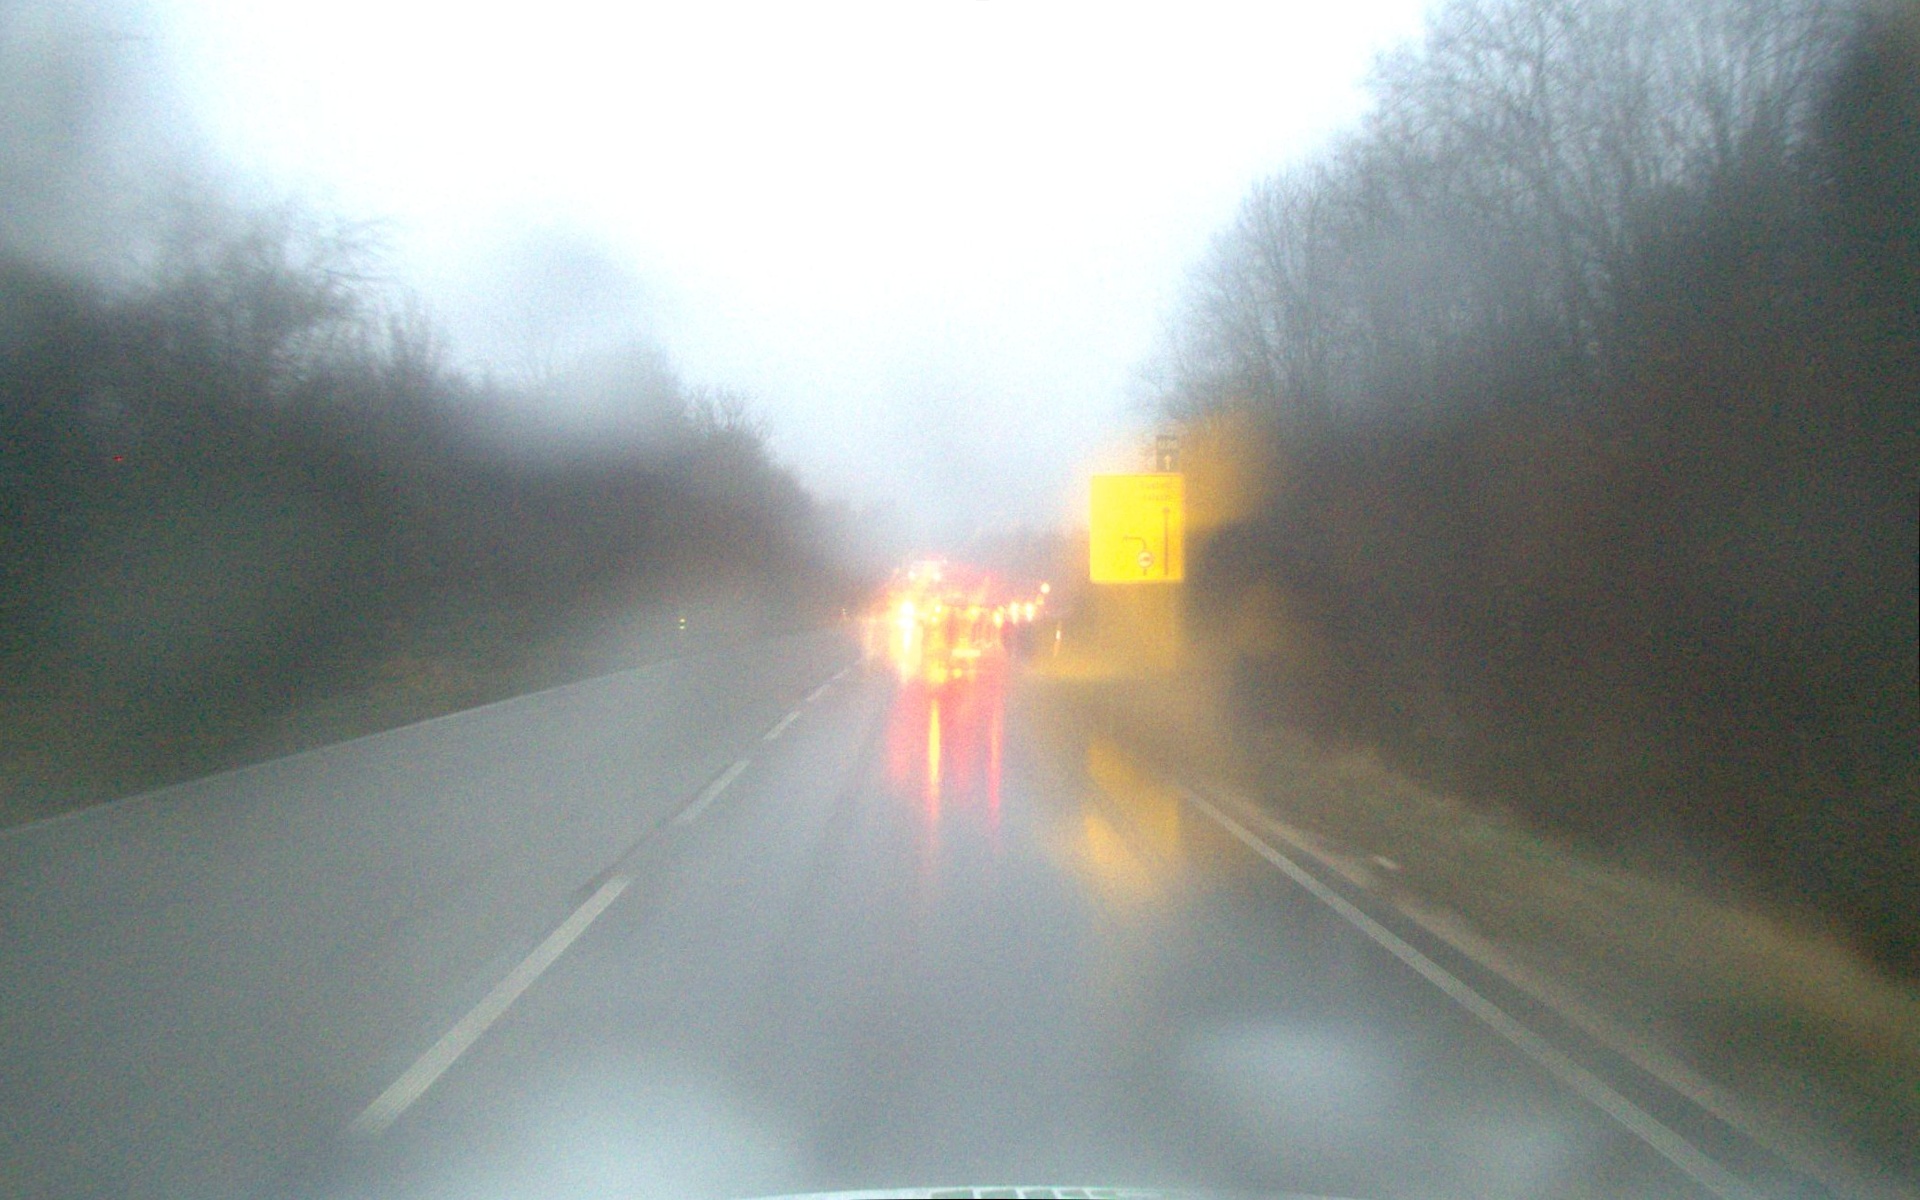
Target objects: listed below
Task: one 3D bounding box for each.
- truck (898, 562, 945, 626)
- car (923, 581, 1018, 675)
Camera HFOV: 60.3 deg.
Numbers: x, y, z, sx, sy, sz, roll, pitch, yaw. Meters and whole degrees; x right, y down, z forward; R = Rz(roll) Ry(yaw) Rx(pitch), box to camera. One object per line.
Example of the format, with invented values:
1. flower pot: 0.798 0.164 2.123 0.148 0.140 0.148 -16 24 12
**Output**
1. truck: -2.582 -0.422 112.973 2.741 4.199 7.201 0 0 2
2. car: 0.170 0.483 31.508 1.692 1.672 3.999 0 0 -1
